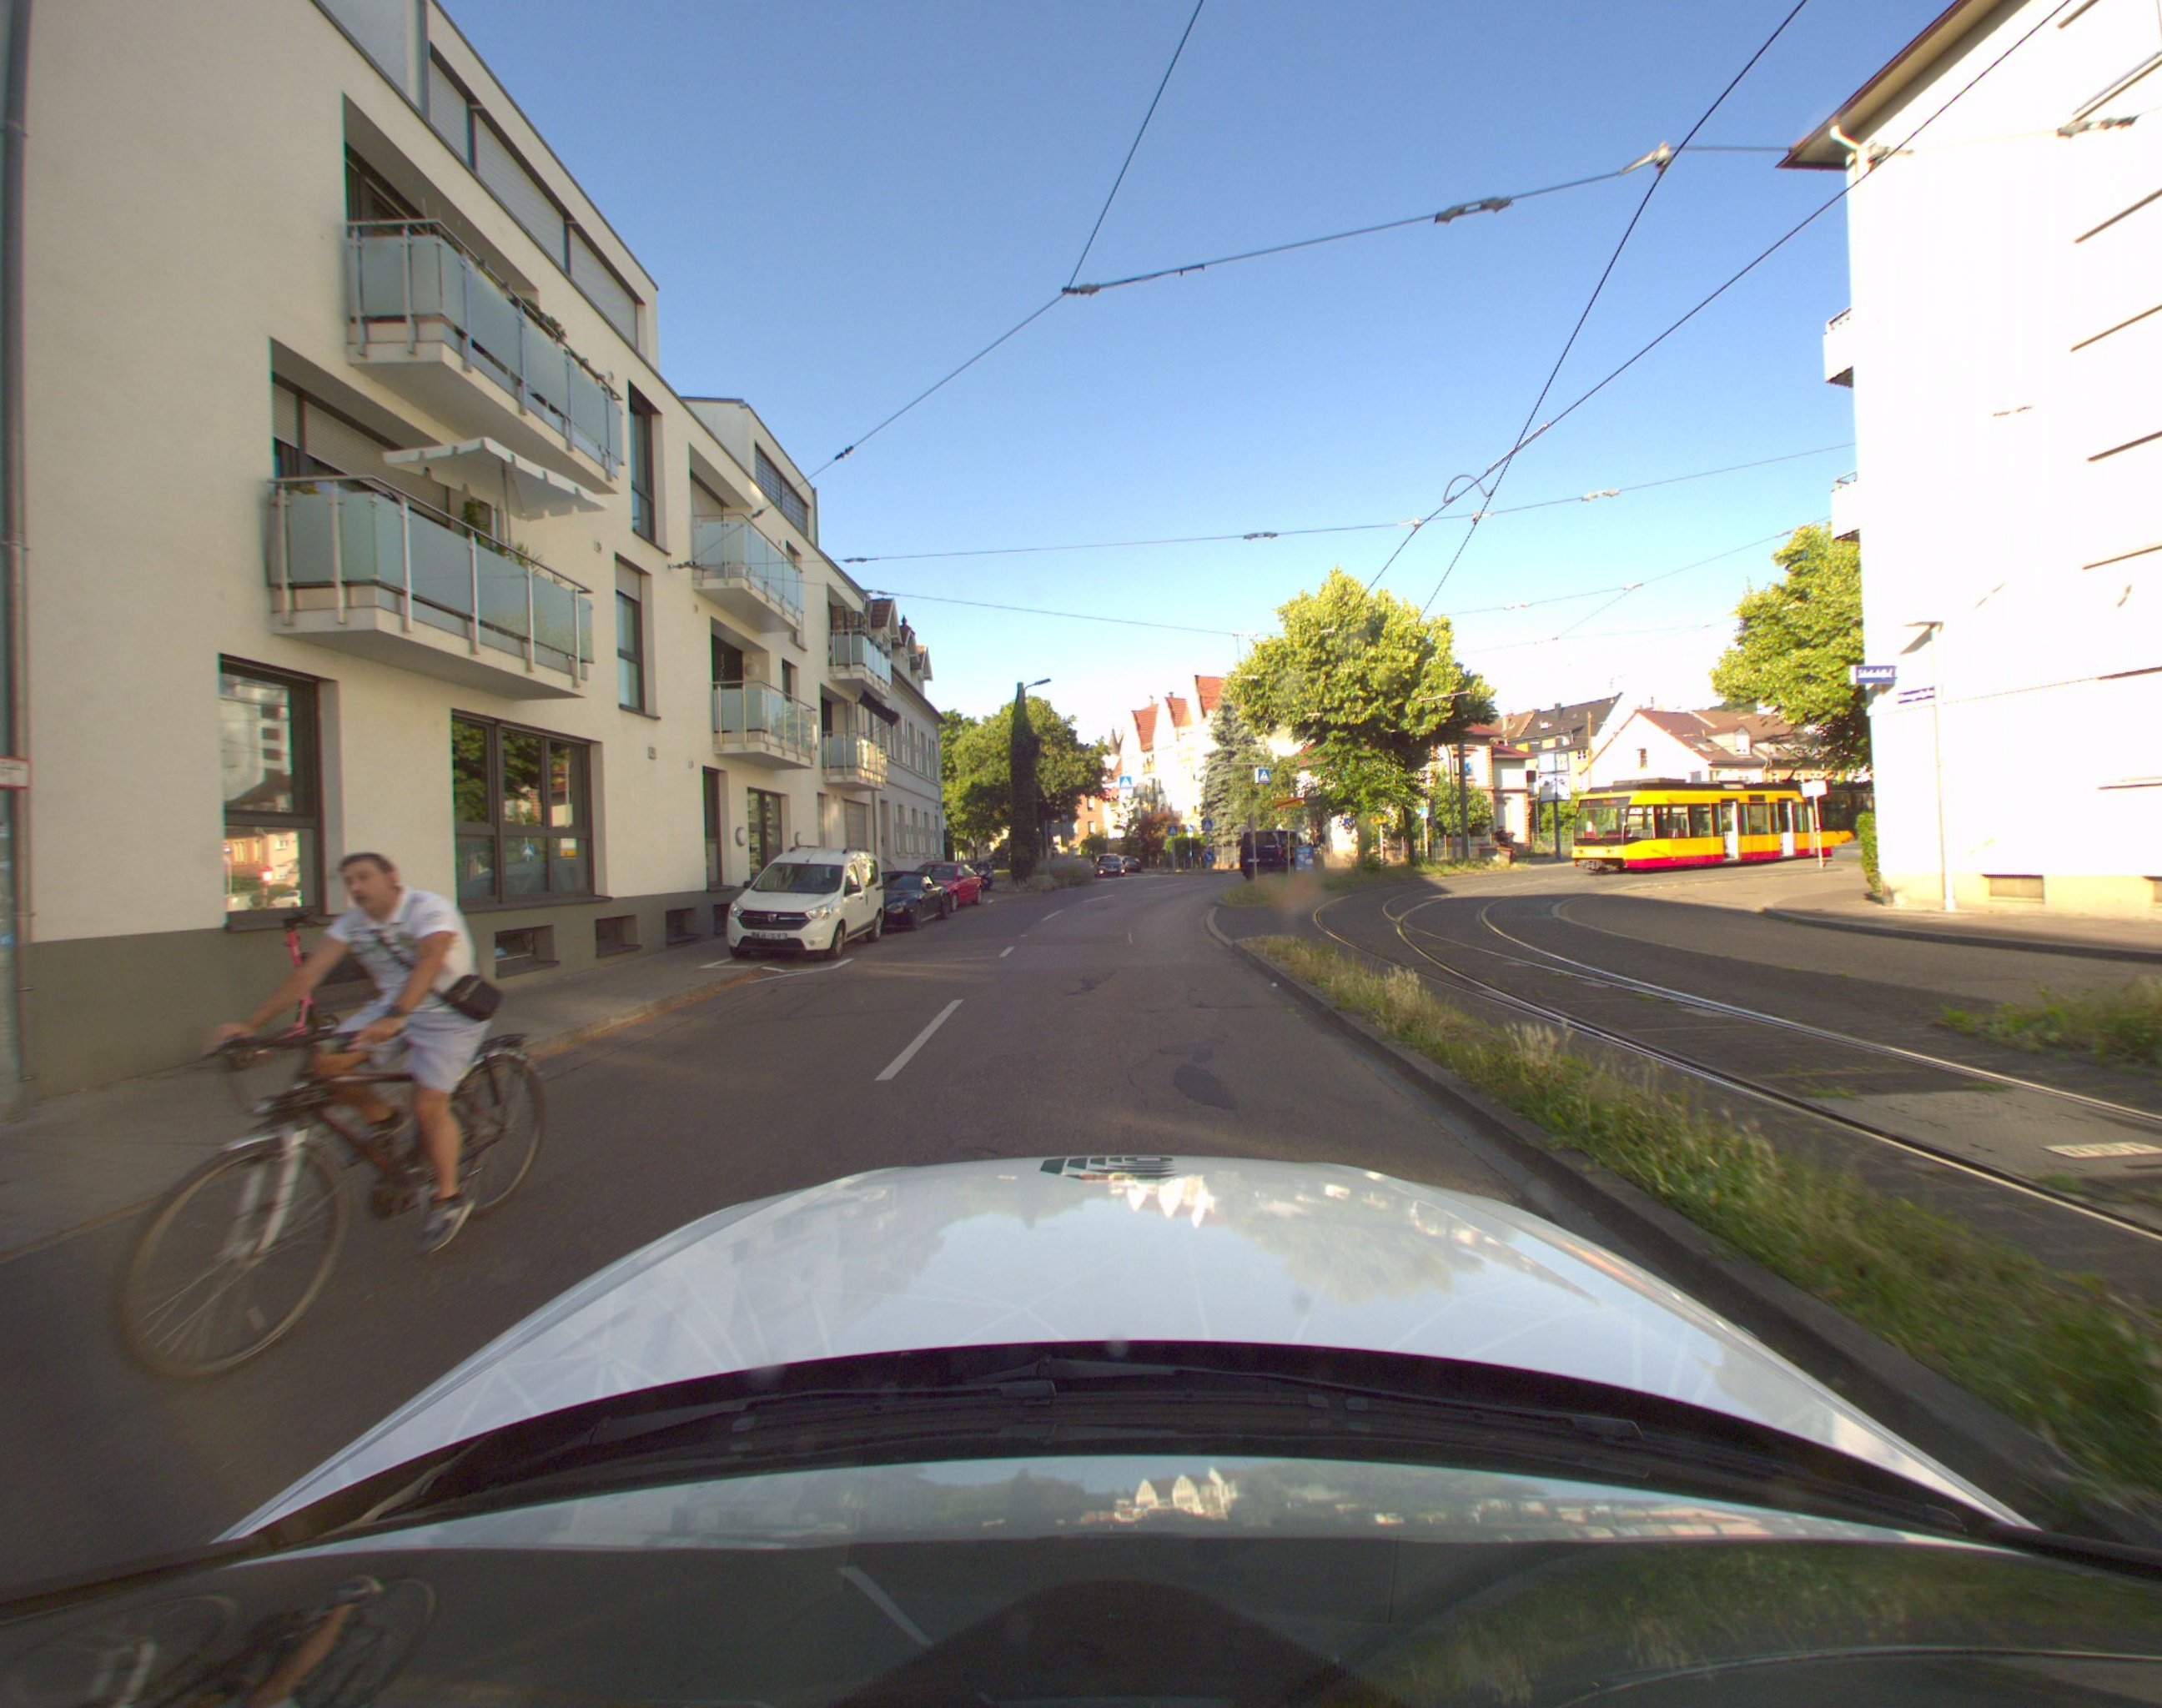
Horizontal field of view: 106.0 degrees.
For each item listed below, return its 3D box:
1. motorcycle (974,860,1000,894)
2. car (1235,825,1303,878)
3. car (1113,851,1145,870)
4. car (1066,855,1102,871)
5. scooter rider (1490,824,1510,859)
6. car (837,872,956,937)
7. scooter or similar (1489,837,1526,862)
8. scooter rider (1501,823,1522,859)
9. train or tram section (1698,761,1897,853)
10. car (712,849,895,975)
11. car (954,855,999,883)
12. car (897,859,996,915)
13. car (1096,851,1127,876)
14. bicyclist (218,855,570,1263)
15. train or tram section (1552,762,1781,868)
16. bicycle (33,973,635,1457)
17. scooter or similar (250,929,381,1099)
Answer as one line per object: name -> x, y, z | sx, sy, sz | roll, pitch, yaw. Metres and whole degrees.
motorcycle -> -4.030, 0.954, 34.756 | 0.931, 1.357, 2.556 | -2, 0, -9
car -> 7.815, -0.149, 33.568 | 1.976, 2.013, 4.023 | -2, 1, 23
car -> 4.225, 0.588, 71.703 | 1.993, 1.596, 3.988 | -2, 0, -9
car -> 0.264, 1.001, 87.200 | 2.347, 1.596, 4.898 | -2, 0, -19
scooter rider -> 20.577, -0.602, 40.011 | 0.658, 1.672, 0.600 | -4, 0, -42
car -> -4.278, 1.135, 19.521 | 1.657, 1.273, 4.030 | -1, 0, 4
scooter or similar -> 20.818, -0.233, 39.760 | 0.689, 1.136, 1.389 | -4, 1, -42
scooter rider -> 20.933, -0.619, 39.579 | 0.658, 1.672, 0.600 | -4, 0, -42
train or tram section -> 31.578, -2.123, 35.777 | 9.937, 3.555, 2.761 | -3, 0, -25
car -> -4.700, 0.886, 14.504 | 1.806, 1.869, 4.330 | -1, 0, -1
car -> -6.372, 0.922, 49.461 | 1.815, 1.536, 3.882 | -2, 0, -21
car -> -4.153, 0.962, 25.883 | 1.699, 1.466, 4.604 | -1, 1, 9
car -> 1.974, 0.562, 51.421 | 1.704, 1.403, 3.744 | -2, 1, 5
bicyclist -> -2.645, 0.713, 3.237 | 0.620, 1.380, 0.801 | -4, 0, 2
train or tram section -> 22.687, -1.568, 31.376 | 9.941, 3.555, 2.760 | -3, 0, -27
bicycle -> -2.621, 1.158, 3.213 | 0.620, 1.081, 1.784 | -4, 0, 2
scooter or similar -> -6.571, 1.324, 7.039 | 0.225, 1.219, 1.150 | -2, 1, -13
